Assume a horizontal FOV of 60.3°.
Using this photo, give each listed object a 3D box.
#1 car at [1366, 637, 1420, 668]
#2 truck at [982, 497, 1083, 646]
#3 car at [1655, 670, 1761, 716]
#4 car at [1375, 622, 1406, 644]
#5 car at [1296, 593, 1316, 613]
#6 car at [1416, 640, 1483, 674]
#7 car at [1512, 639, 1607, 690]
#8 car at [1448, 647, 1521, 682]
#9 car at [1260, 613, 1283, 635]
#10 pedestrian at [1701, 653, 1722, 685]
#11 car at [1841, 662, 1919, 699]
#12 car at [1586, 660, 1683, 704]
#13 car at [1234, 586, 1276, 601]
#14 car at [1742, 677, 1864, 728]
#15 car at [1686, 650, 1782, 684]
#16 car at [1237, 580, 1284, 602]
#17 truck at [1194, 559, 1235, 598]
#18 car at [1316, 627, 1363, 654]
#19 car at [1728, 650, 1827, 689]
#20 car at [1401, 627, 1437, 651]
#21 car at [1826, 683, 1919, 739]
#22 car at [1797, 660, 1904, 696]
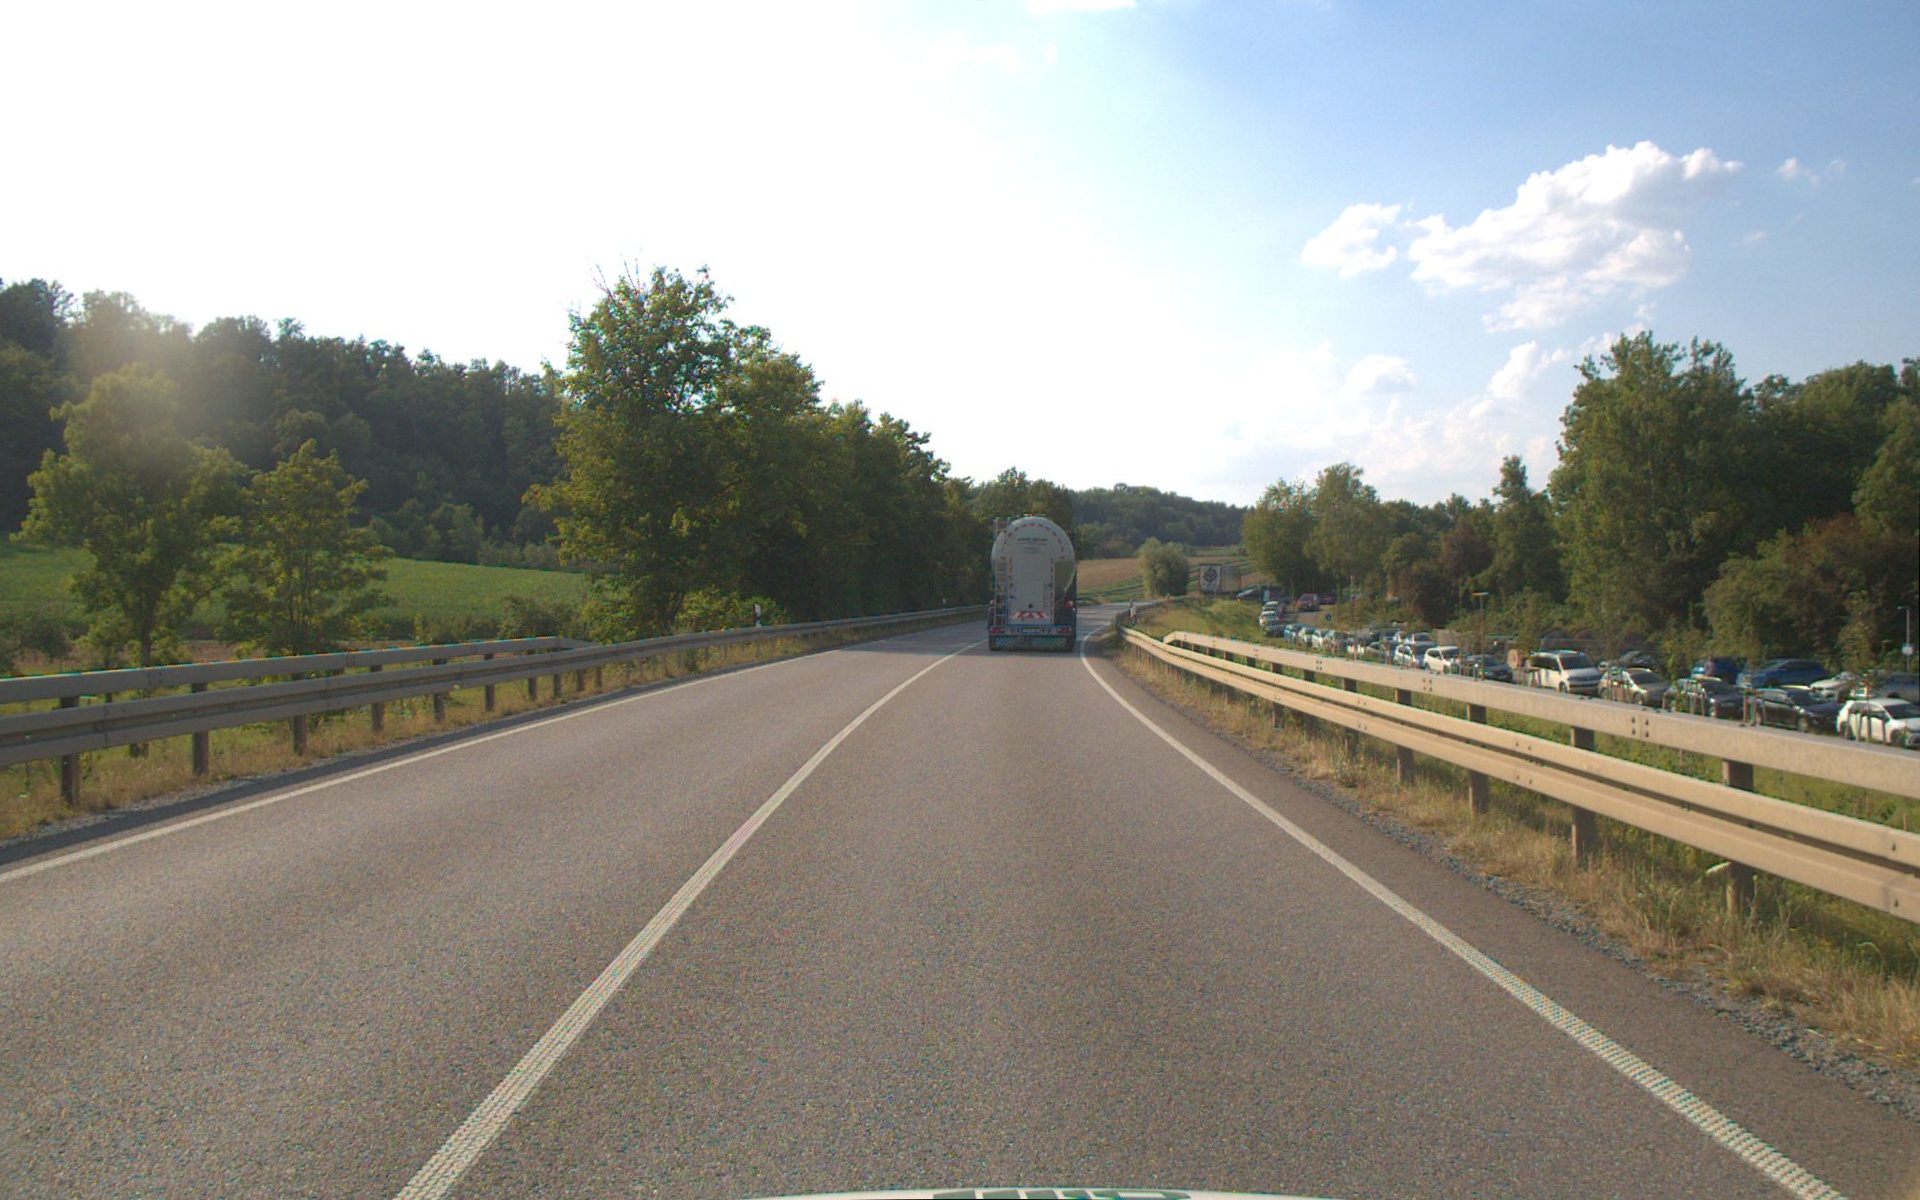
[{"bbox_3d":[27.874,3.387,106.586,1.855,1.586,4.778,-4,2,-5],"label":"car"},{"bbox_3d":[2.459,-0.865,53.503,2.832,4.215,13.178,0,0,3],"label":"truck"},{"bbox_3d":[31.363,3.877,69.470,1.786,1.508,4.382,-2,2,-12],"label":"car"},{"bbox_3d":[33.535,2.568,128.836,1.665,1.423,4.789,-3,0,7],"label":"car"},{"bbox_3d":[37.069,0.312,177.237,1.851,1.716,5.092,-3,2,10],"label":"car"},{"bbox_3d":[28.359,3.270,96.051,1.857,1.586,4.774,-4,2,-8],"label":"car"},{"bbox_3d":[29.448,3.139,81.448,2.080,2.052,5.370,-4,2,-8],"label":"car"},{"bbox_3d":[28.491,3.482,90.072,1.857,1.508,4.774,-4,2,-8],"label":"car"},{"bbox_3d":[27.933,2.119,148.266,1.851,1.586,4.788,-3,2,10],"label":"car"},{"bbox_3d":[37.683,3.456,82.903,0.900,1.496,0.888,-2,1,26],"label":"pedestrian"},{"bbox_3d":[40.774,3.491,72.150,4.162,1.481,1.611,0,0,-15],"label":"car"},{"bbox_3d":[30.349,3.663,74.628,1.857,1.508,4.774,-4,2,-8],"label":"car"},{"bbox_3d":[32.867,-0.715,184.398,4.236,1.423,1.716,3,2,-13],"label":"car"},{"bbox_3d":[32.248,3.890,63.425,1.786,1.508,4.382,-2,2,-12],"label":"car"},{"bbox_3d":[39.502,3.399,84.486,4.154,1.632,1.830,1,0,-9],"label":"car"},{"bbox_3d":[34.199,-1.065,188.152,5.033,1.976,1.977,6,3,14],"label":"car"},{"bbox_3d":[29.801,-2.565,193.060,3.116,4.301,13.182,-1,1,16],"label":"truck"},{"bbox_3d":[27.410,2.926,119.699,1.855,1.586,4.778,-4,2,-5],"label":"car"},{"bbox_3d":[39.887,3.373,80.730,4.161,1.773,1.827,0,1,-14],"label":"car"},{"bbox_3d":[33.122,2.816,119.454,1.665,1.536,3.946,-1,0,2],"label":"car"},{"bbox_3d":[32.961,3.902,58.538,1.786,1.508,4.244,-2,2,-12],"label":"car"},{"bbox_3d":[40.326,3.514,74.929,4.161,1.524,1.766,0,1,-14],"label":"car"}]
